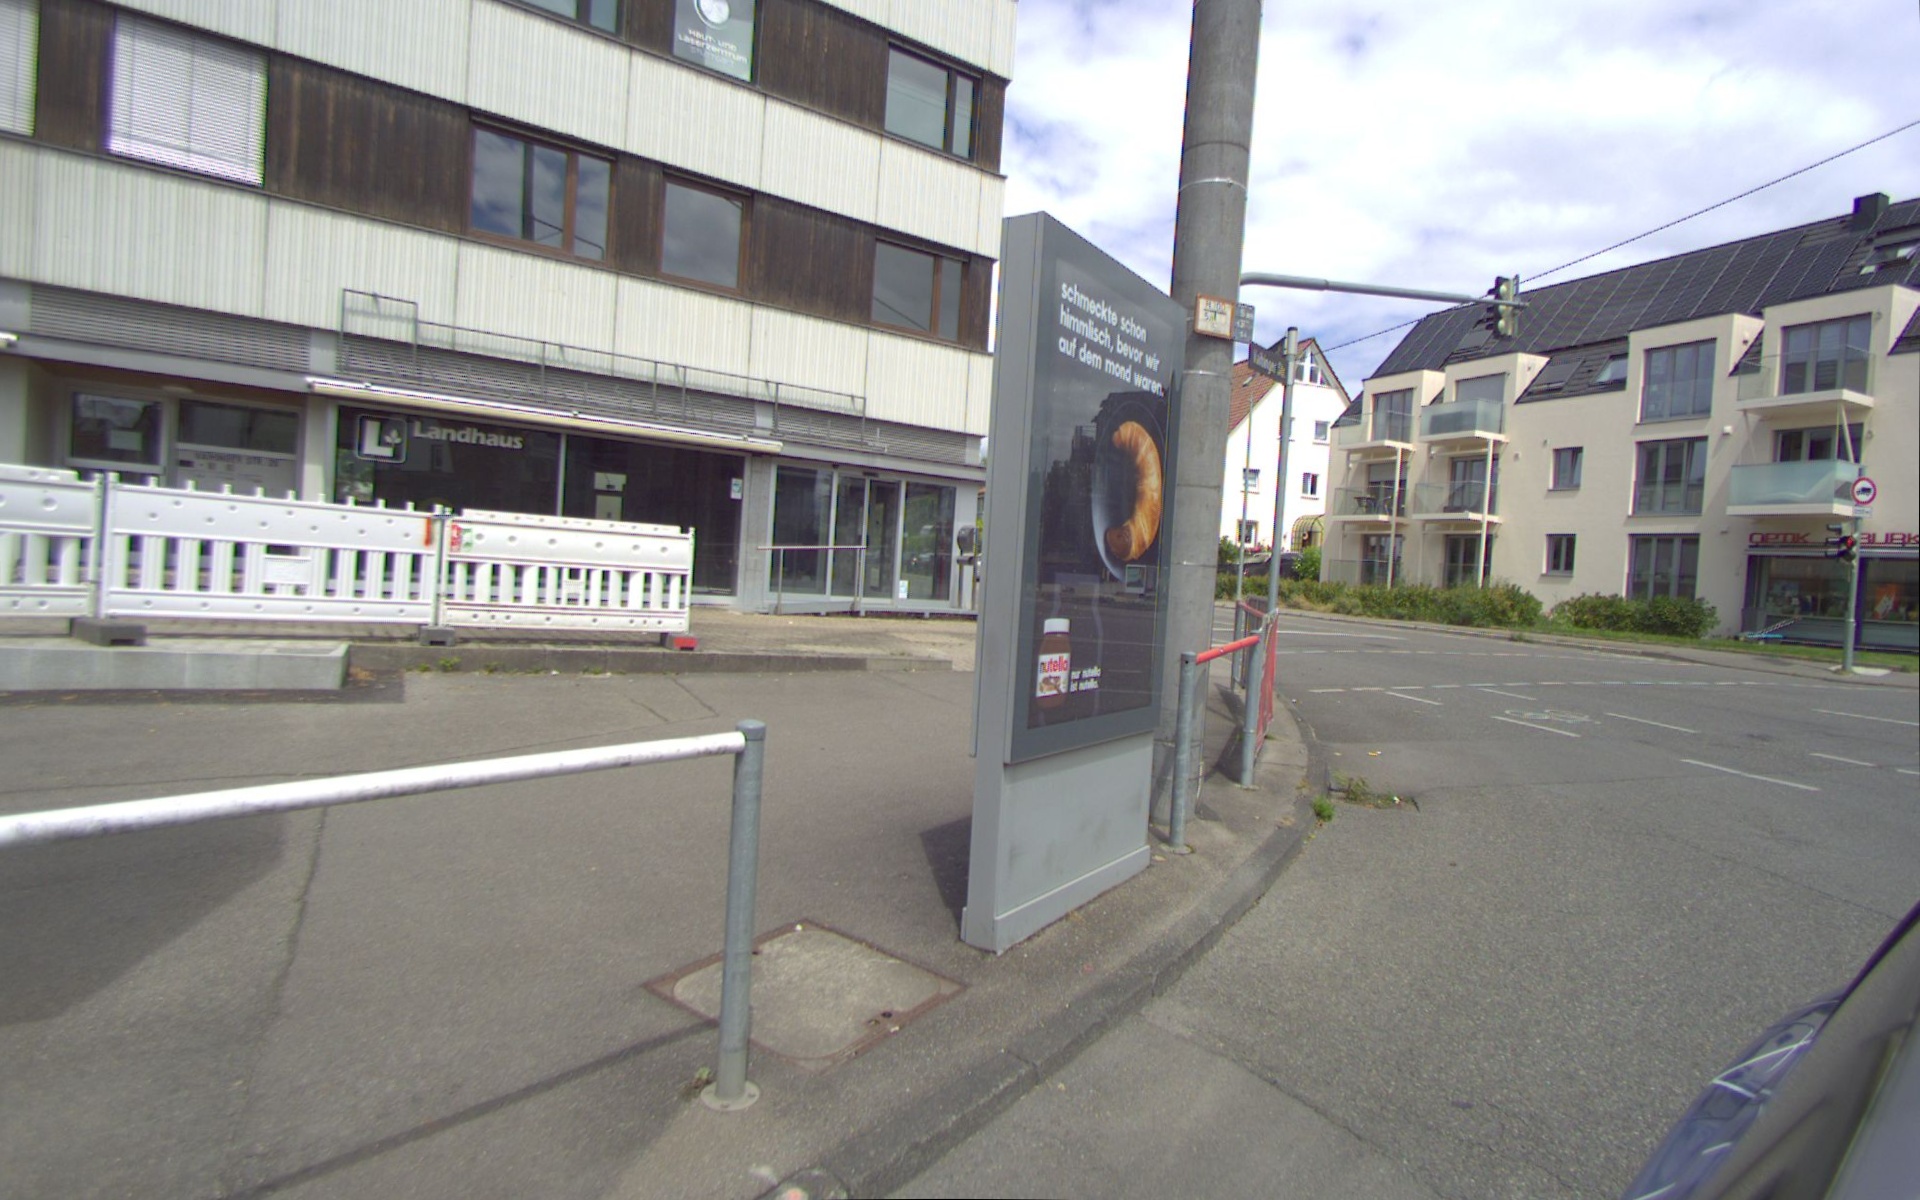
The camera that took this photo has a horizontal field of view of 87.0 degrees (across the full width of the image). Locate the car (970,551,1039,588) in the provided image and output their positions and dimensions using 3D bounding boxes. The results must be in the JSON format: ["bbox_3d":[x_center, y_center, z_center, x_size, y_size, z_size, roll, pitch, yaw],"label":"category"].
[{"bbox_3d":[2.205,-1.587,51.546,1.958,1.653,4.465,2,3,-19],"label":"car"}]

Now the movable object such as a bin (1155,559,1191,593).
[{"bbox_3d":[9.176,-1.050,43.601,1.070,1.379,0.983,2,2,-19],"label":"movable object such as a bin"}]

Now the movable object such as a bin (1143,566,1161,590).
[{"bbox_3d":[8.684,-0.998,45.725,0.519,1.078,0.649,4,3,32],"label":"movable object such as a bin"}]

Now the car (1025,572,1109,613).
[{"bbox_3d":[4.730,-0.386,45.413,1.781,1.519,4.465,2,3,-22],"label":"car"}]

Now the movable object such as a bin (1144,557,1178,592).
[{"bbox_3d":[8.906,-1.147,44.822,1.070,1.464,0.983,2,2,-19],"label":"movable object such as a bin"}]

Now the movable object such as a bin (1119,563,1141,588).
[{"bbox_3d":[7.786,-1.135,46.298,0.748,1.078,0.694,2,2,-12],"label":"movable object such as a bin"}]

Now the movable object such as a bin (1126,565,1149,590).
[{"bbox_3d":[8.013,-1.027,45.641,0.748,1.078,0.694,2,2,-12],"label":"movable object such as a bin"}]
